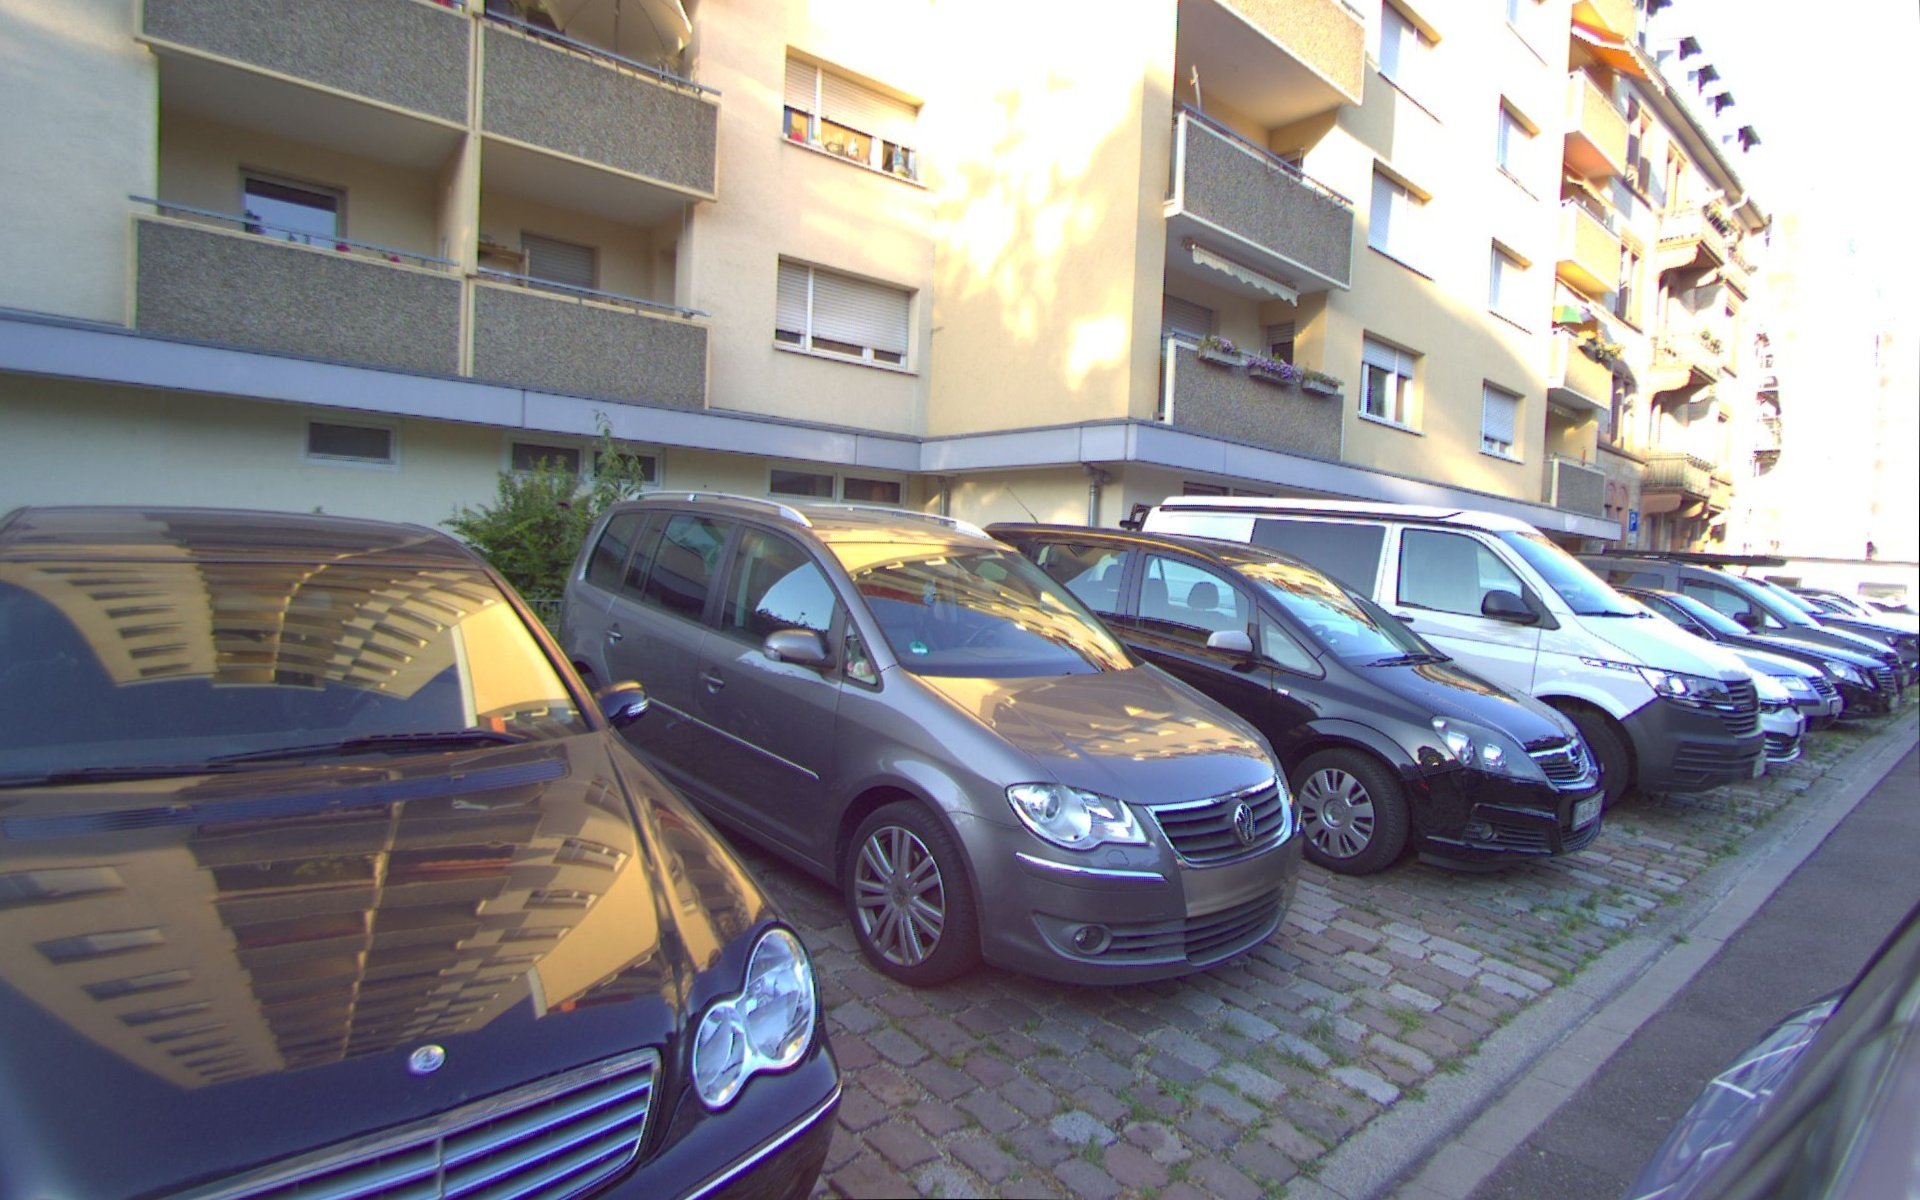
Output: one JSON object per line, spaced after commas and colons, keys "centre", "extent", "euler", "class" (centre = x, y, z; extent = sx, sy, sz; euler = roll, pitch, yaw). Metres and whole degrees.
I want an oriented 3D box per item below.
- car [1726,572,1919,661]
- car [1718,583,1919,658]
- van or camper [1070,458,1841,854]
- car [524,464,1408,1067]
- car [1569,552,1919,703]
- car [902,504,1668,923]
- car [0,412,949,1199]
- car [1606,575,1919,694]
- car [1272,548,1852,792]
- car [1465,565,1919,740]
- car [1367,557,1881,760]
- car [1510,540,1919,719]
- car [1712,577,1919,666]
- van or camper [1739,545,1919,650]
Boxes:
{"centre": [21.159, 0.344, 23.960], "extent": [1.812, 1.769, 4.418], "euler": [-1, 5, -37], "class": "car"}
{"centre": [22.541, 0.467, 26.161], "extent": [1.813, 1.638, 4.414], "euler": [-2, 4, -40], "class": "car"}
{"centre": [3.577, 0.059, 8.283], "extent": [2.006, 2.192, 5.144], "euler": [0, 7, -43], "class": "van or camper"}
{"centre": [-0.421, 0.233, 5.031], "extent": [1.815, 1.680, 4.412], "euler": [-2, 7, -43], "class": "car"}
{"centre": [12.497, 0.309, 15.967], "extent": [1.814, 1.885, 4.522], "euler": [0, 4, -42], "class": "car"}
{"centre": [1.705, 0.323, 6.525], "extent": [1.752, 1.680, 4.334], "euler": [-2, 7, -43], "class": "car"}
{"centre": [-2.201, 0.380, 3.099], "extent": [1.815, 1.549, 4.410], "euler": [-2, 6, -43], "class": "car"}
{"centre": [14.309, 0.481, 17.945], "extent": [1.813, 1.572, 4.416], "euler": [-2, 5, -39], "class": "car"}
{"centre": [5.495, 0.415, 9.762], "extent": [1.814, 1.650, 4.413], "euler": [-2, 6, -41], "class": "car"}
{"centre": [9.038, 0.470, 12.723], "extent": [1.814, 1.581, 4.413], "euler": [-2, 6, -41], "class": "car"}
{"centre": [7.116, 0.428, 11.272], "extent": [1.814, 1.611, 4.413], "euler": [-2, 6, -41], "class": "car"}
{"centre": [10.749, 0.232, 14.496], "extent": [1.814, 2.004, 4.647], "euler": [-2, 6, -41], "class": "car"}
{"centre": [19.401, 0.425, 22.129], "extent": [1.813, 1.572, 4.415], "euler": [-2, 6, -40], "class": "car"}
{"centre": [25.181, -0.041, 27.410], "extent": [2.014, 2.534, 6.074], "euler": [1, 4, -41], "class": "van or camper"}
